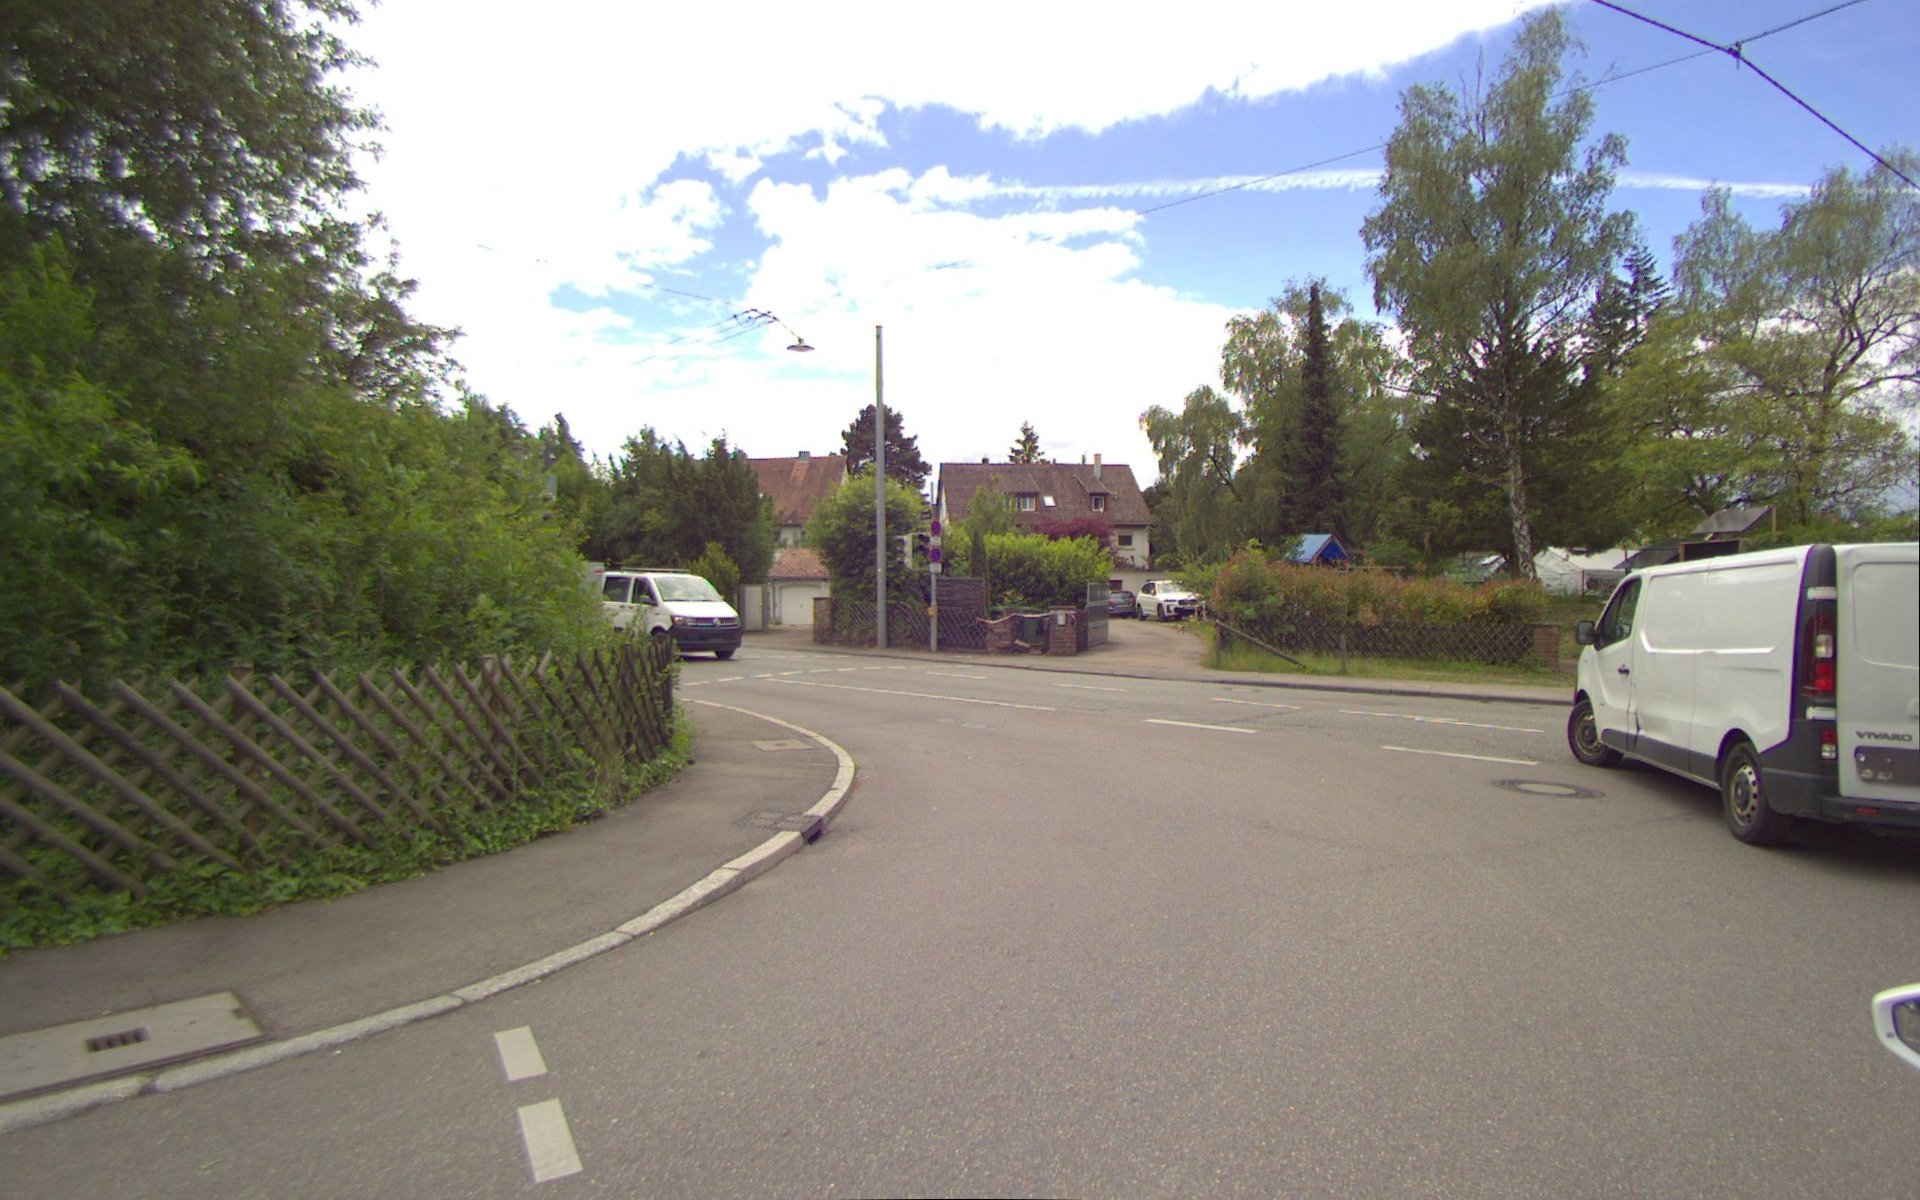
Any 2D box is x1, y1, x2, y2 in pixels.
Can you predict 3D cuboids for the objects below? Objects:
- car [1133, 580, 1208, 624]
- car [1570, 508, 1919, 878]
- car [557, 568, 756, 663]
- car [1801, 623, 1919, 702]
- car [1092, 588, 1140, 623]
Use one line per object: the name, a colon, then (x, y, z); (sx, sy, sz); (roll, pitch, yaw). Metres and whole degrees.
car: (8.628, 0.059, 41.521); (1.961, 1.680, 4.341); (-2, 1, -3)
car: (6.436, 0.552, 7.749); (1.884, 2.080, 4.615); (1, 0, 17)
car: (-7.221, 0.290, 23.589); (5.120, 2.005, 1.991); (1, 1, 40)
car: (20.119, 1.318, 21.186); (3.477, 1.468, 1.700); (2, 2, -7)
car: (7.898, 0.238, 51.152); (1.960, 1.680, 4.344); (-1, 1, 3)
